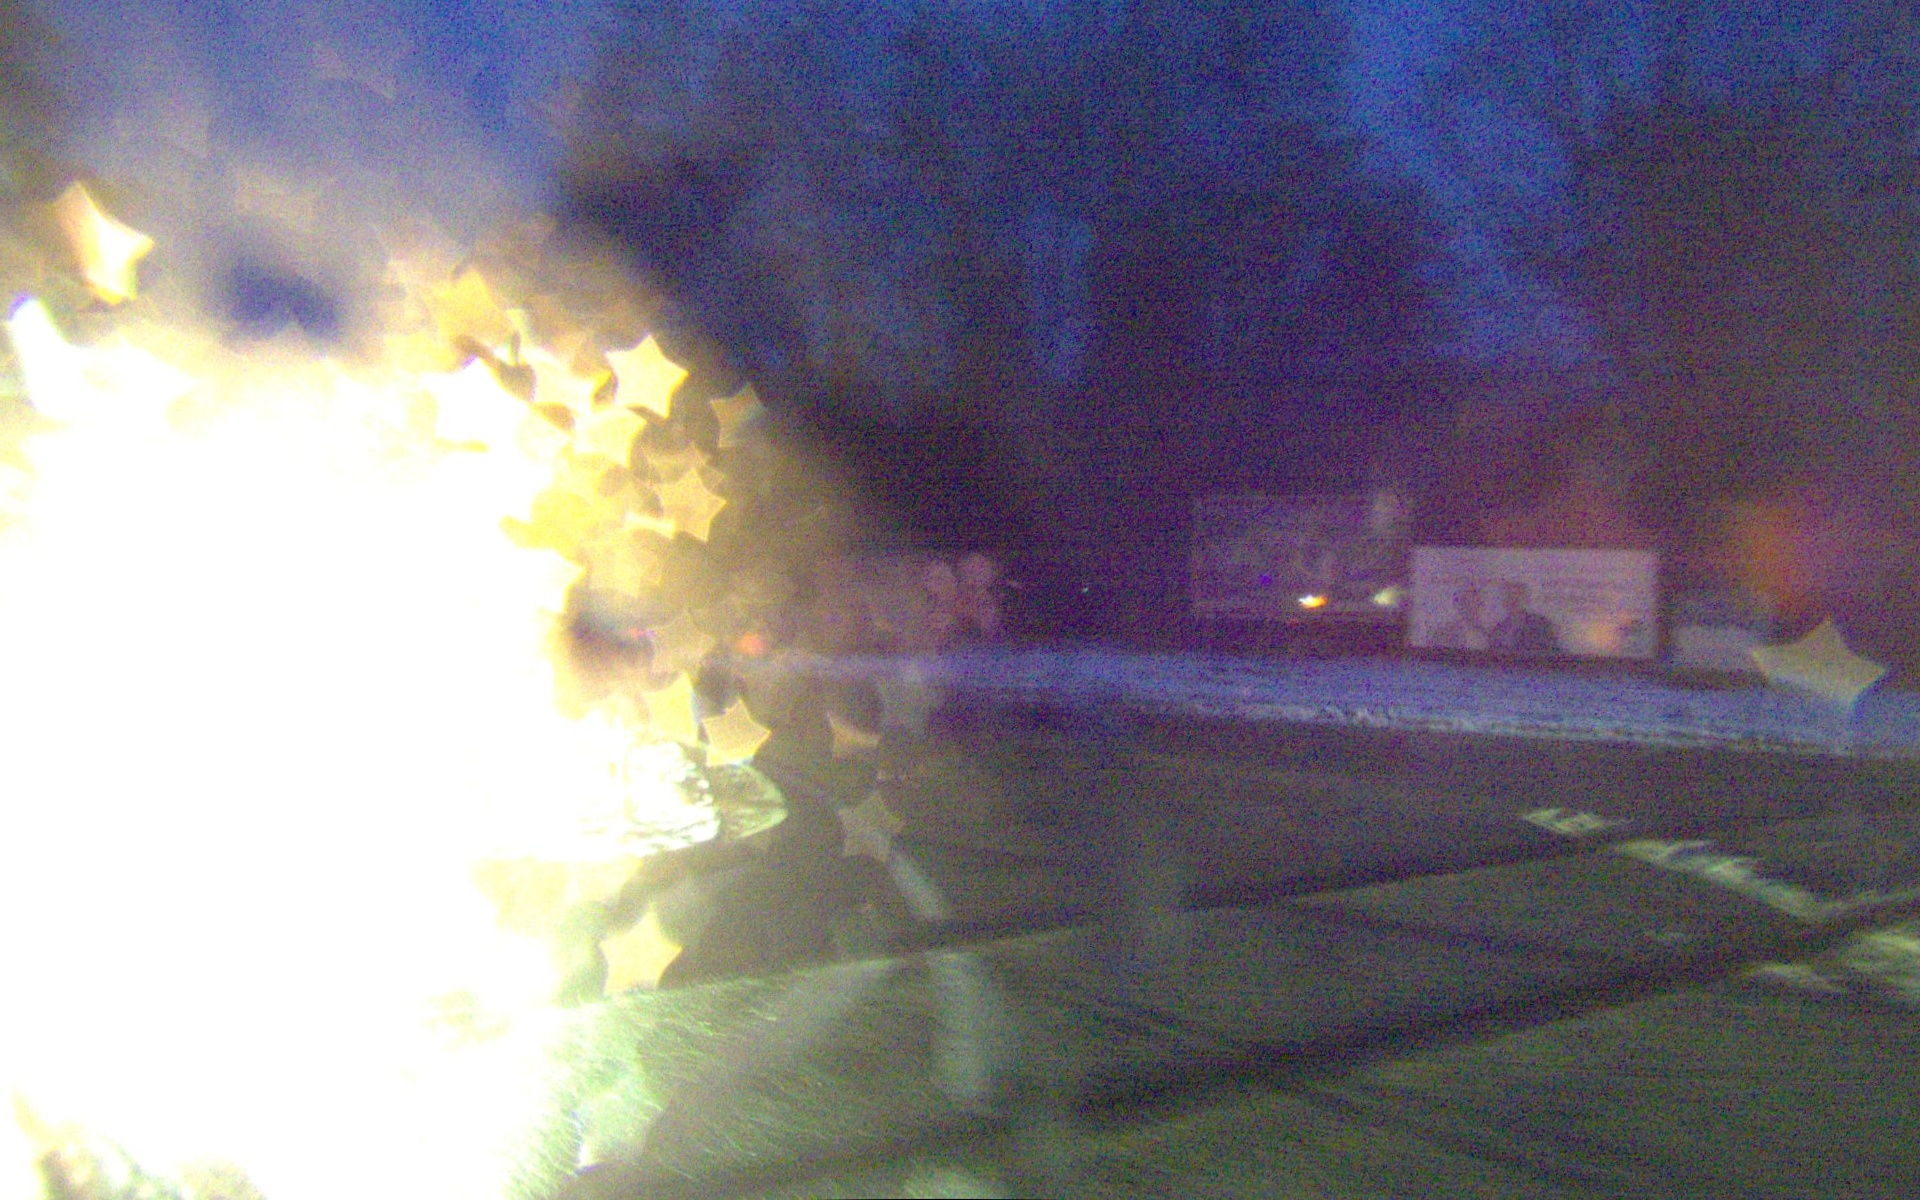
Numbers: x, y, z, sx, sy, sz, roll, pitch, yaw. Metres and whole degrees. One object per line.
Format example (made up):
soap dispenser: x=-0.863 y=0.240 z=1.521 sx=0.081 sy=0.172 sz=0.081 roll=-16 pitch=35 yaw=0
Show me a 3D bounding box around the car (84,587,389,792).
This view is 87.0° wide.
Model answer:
car: x=-7.440 y=0.746 z=10.907 sx=1.862 sy=1.700 sz=4.354 roll=-1 pitch=1 yaw=-25
